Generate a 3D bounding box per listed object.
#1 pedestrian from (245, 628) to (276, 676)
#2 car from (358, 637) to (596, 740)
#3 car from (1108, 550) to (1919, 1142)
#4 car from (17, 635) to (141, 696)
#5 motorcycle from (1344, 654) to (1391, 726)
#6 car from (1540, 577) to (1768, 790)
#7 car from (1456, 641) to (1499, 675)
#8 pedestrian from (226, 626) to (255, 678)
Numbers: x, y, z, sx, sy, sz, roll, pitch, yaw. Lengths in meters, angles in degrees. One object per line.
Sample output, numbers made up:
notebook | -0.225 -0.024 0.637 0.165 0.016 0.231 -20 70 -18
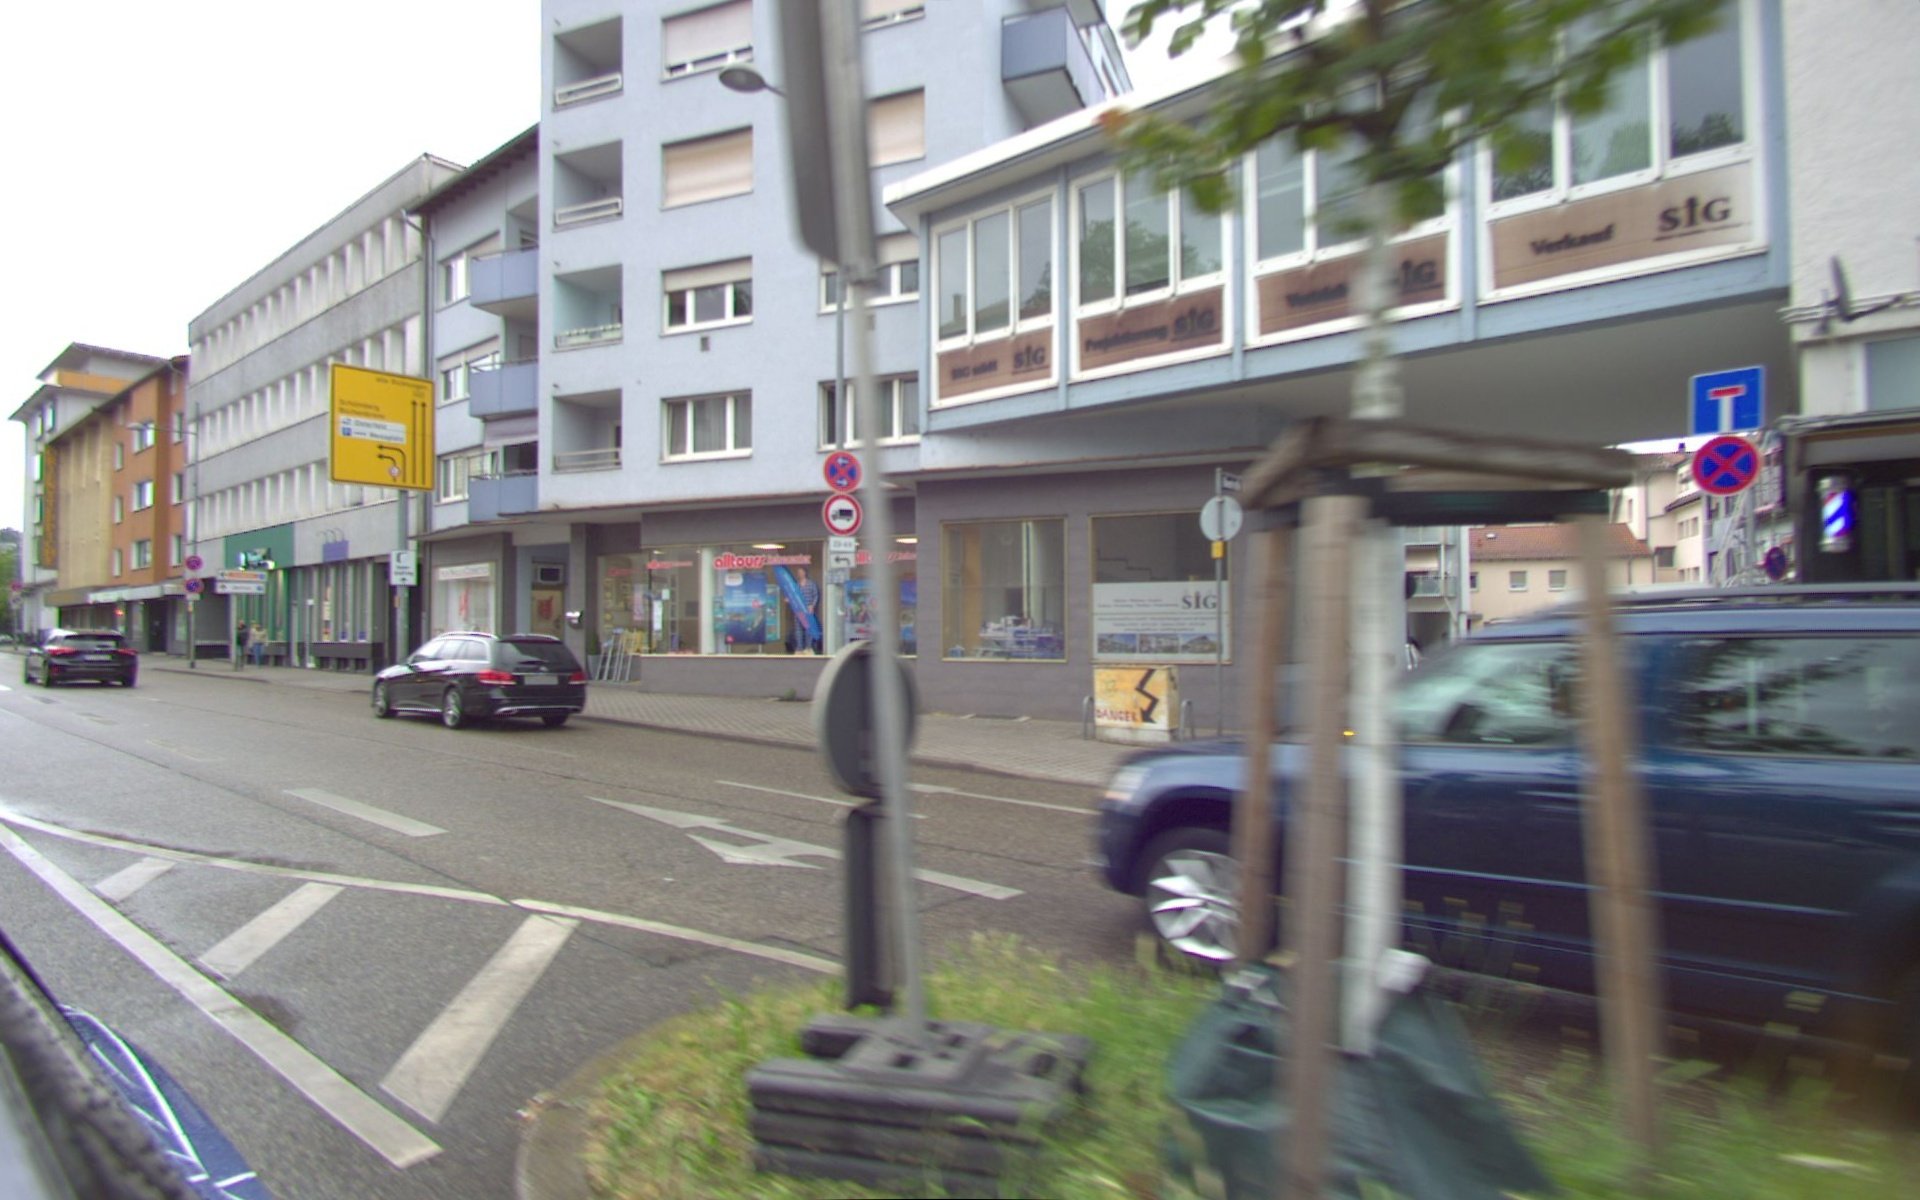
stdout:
pedestrian | -25.532 1.885 36.927 0.907 1.688 0.624 -2 1 39
car | -8.130 1.396 16.813 4.826 1.479 1.690 -2 -5 41
car | 2.775 0.756 3.947 4.093 1.674 1.666 -2 -5 40
car | -22.620 1.654 25.947 4.162 1.434 1.703 -2 -5 40
motorcycle | 7.210 1.565 17.876 0.387 1.187 1.348 -2 -3 38
car | 8.137 0.872 11.726 1.580 2.050 3.919 -2 -3 43
car | 25.647 2.853 50.213 1.665 1.419 3.967 -2 -1 25
pedestrian | -25.907 1.849 36.427 0.826 1.802 0.569 -2 1 40
